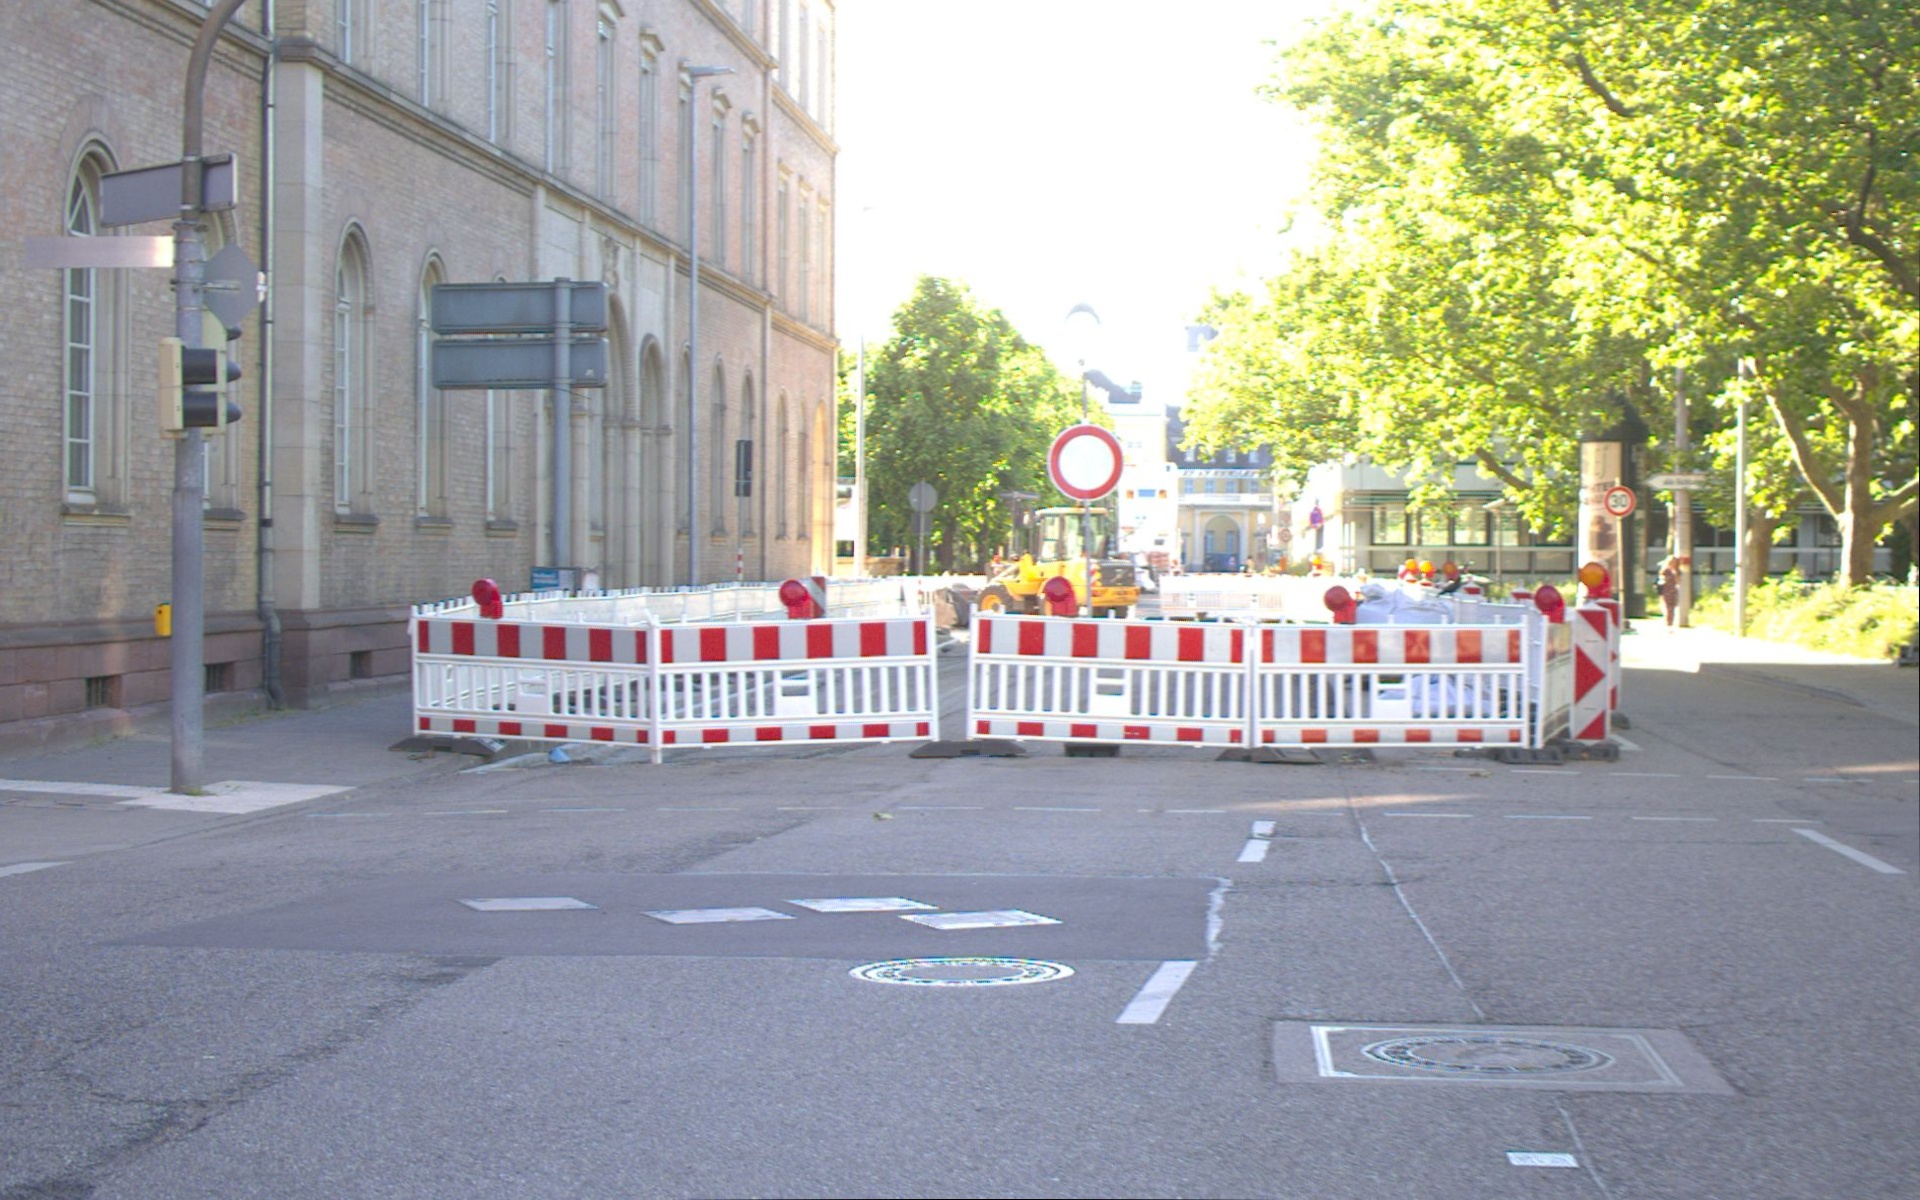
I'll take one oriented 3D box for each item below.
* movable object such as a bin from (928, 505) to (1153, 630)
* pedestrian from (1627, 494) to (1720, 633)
[{"bbox_3d":[1.826,-0.754,78.883,2.467,2.767,4.840,0,1,-43],"label":"movable object such as a bin"},{"bbox_3d":[13.852,-0.710,66.733,1.422,2.658,1.146,1,0,33],"label":"pedestrian"}]
